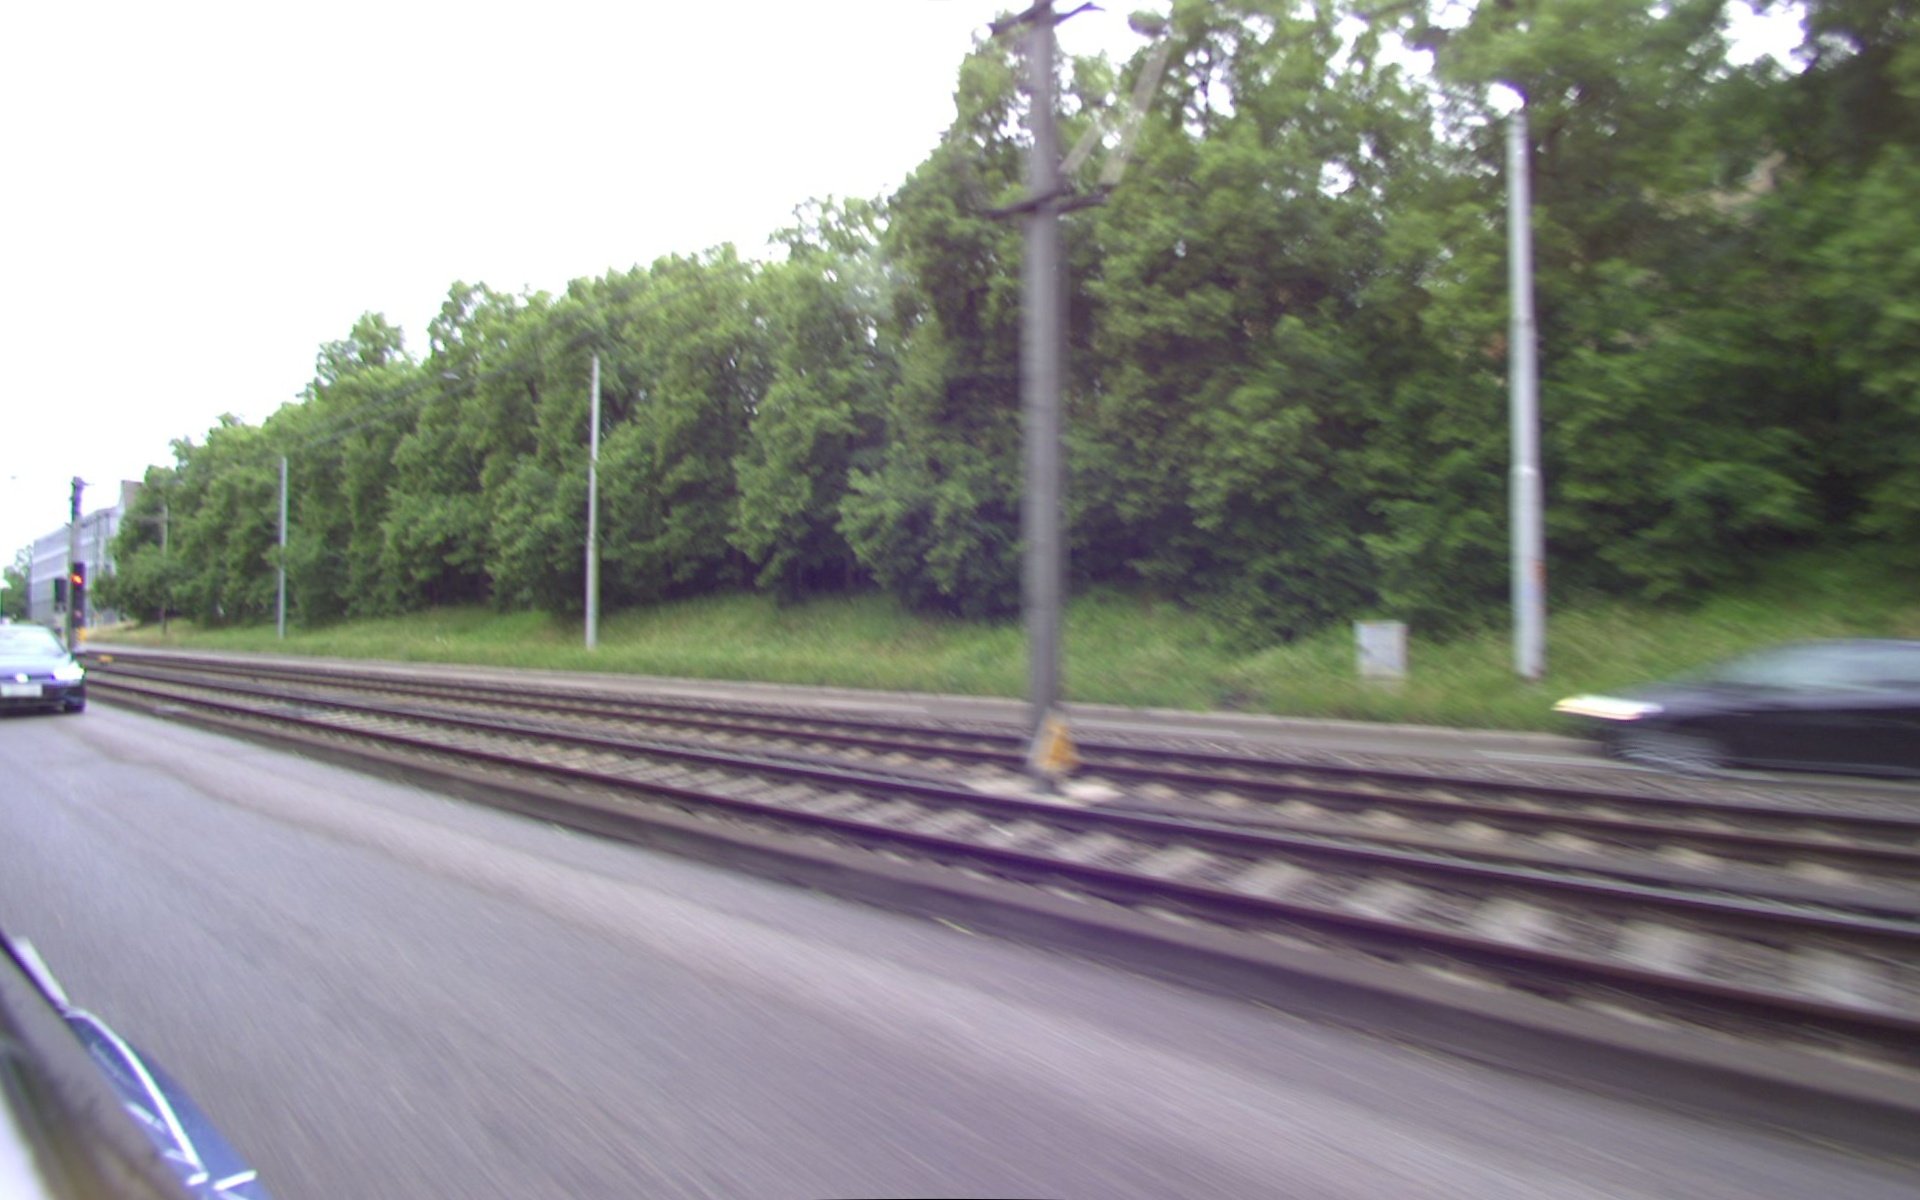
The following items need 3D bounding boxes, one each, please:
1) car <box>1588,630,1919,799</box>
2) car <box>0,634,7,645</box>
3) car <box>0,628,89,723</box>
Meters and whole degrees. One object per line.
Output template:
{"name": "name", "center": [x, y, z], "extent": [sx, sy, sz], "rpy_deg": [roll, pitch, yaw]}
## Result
{"name": "car", "center": [8.461, 1.050, 9.641], "extent": [4.024, 1.454, 1.652], "rpy_deg": [-1, -5, 40]}
{"name": "car", "center": [-125.008, 5.121, 131.339], "extent": [3.907, 1.447, 1.460], "rpy_deg": [-2, -5, 41]}
{"name": "car", "center": [-16.063, 1.203, 16.900], "extent": [3.831, 1.459, 1.748], "rpy_deg": [-2, -3, 41]}
